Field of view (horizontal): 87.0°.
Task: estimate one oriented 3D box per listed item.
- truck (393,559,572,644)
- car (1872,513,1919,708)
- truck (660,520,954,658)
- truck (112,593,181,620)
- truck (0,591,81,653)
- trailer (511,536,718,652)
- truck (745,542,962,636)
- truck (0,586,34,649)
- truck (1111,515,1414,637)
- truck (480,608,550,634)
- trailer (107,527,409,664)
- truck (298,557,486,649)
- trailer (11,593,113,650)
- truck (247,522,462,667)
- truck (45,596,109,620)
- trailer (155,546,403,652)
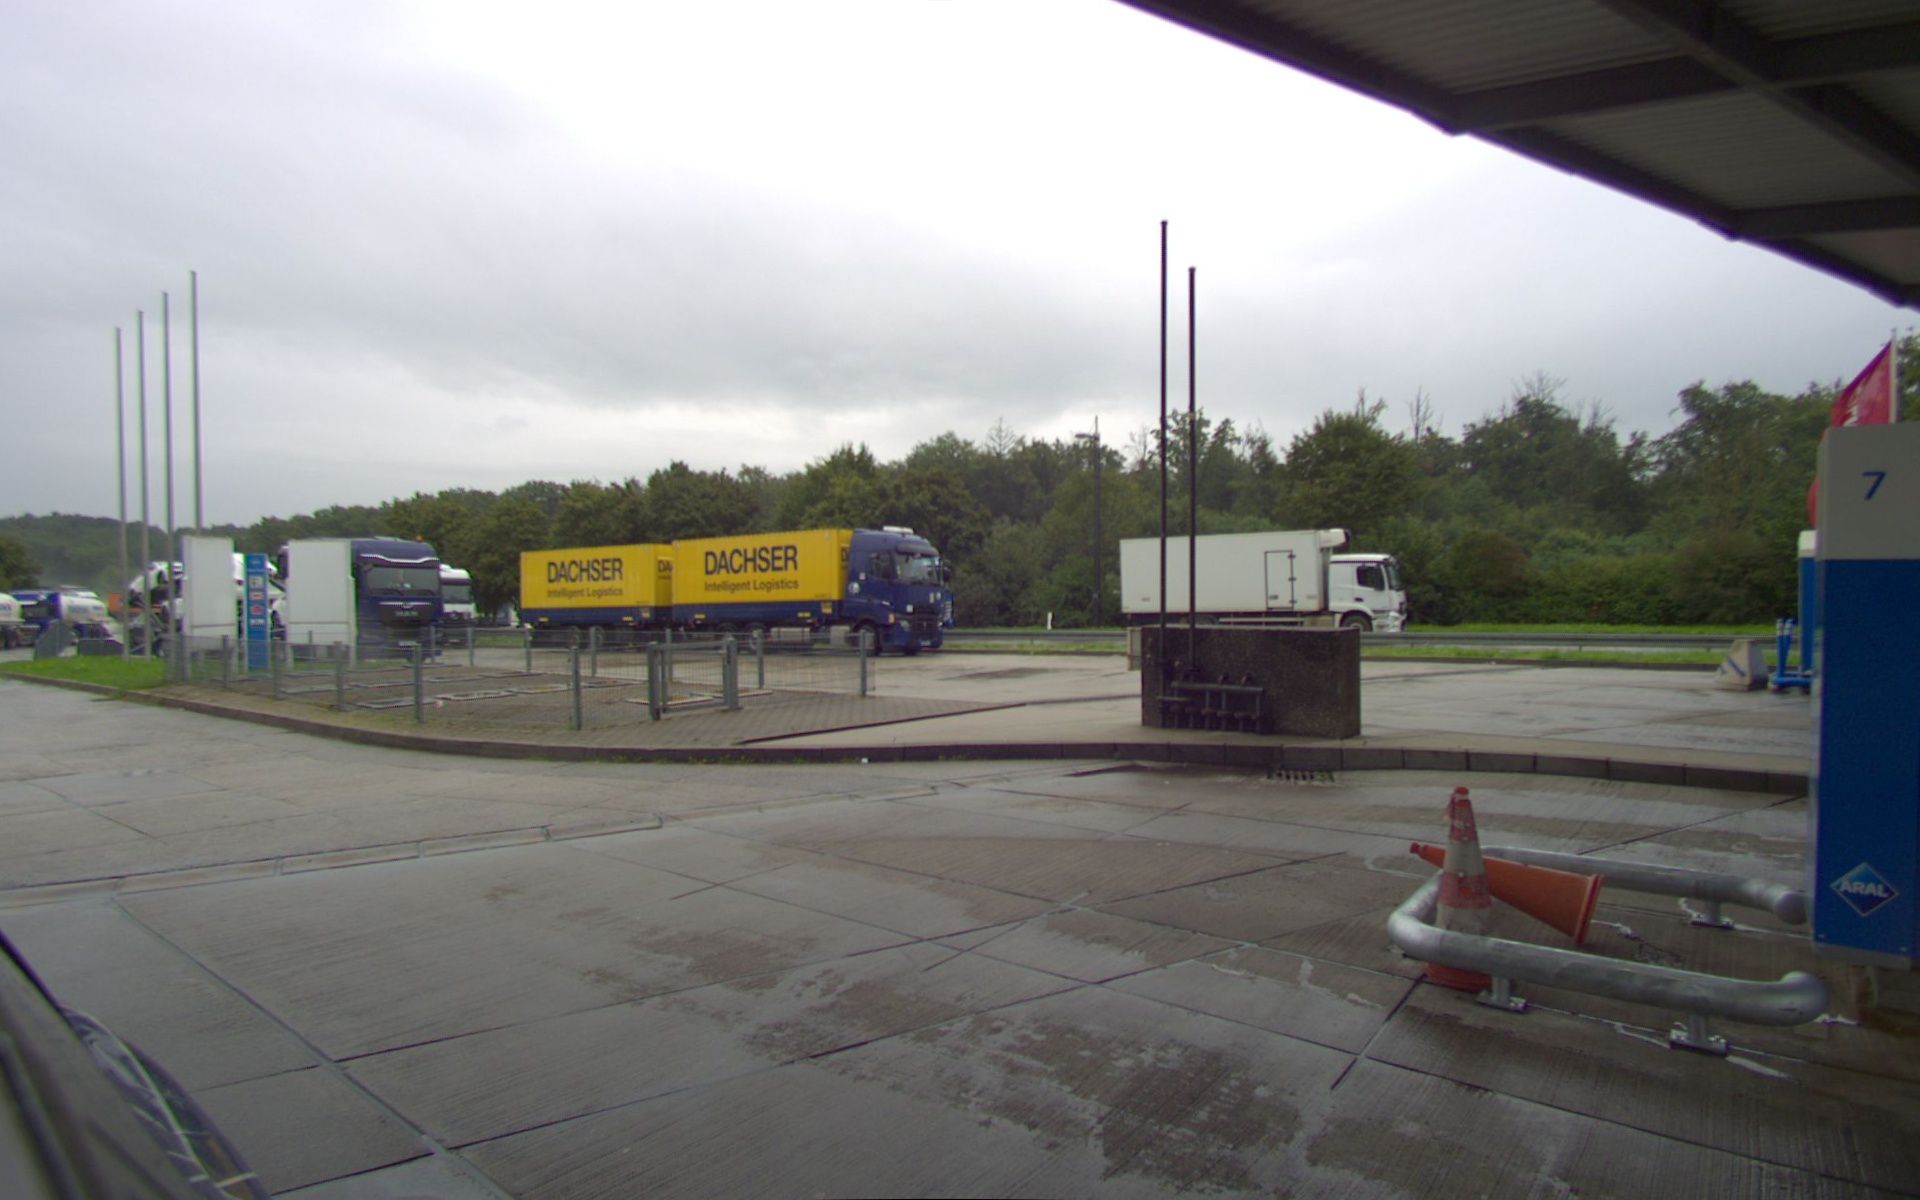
[{"bbox_3d":[-24.785,0.133,52.271,10.433,4.063,2.961,-1,0,30],"label":"truck"},{"bbox_3d":[14.863,0.107,12.369,5.272,2.482,2.298,-1,-2,37],"label":"car"},{"bbox_3d":[-5.395,-0.278,33.952,10.608,4.063,2.743,-1,0,33],"label":"truck"},{"bbox_3d":[-112.579,0.981,139.894,14.626,3.591,3.215,-1,-1,34],"label":"truck"},{"bbox_3d":[-59.429,1.362,64.992,3.000,3.795,6.486,-1,0,-27],"label":"truck"},{"bbox_3d":[-13.551,-0.173,39.286,8.833,4.063,2.743,-1,0,33],"label":"trailer"},{"bbox_3d":[-5.145,-0.413,47.687,10.433,4.063,2.961,-1,0,30],"label":"truck"},{"bbox_3d":[-55.563,1.010,55.012,3.196,3.591,12.013,-1,0,-19],"label":"truck"},{"bbox_3d":[11.068,-0.744,37.696,10.433,4.063,2.961,-1,0,30],"label":"truck"},{"bbox_3d":[-41.531,1.938,94.367,6.158,2.321,3.101,-1,-1,33],"label":"truck"},{"bbox_3d":[-25.422,-0.063,35.921,16.563,4.063,2.957,-1,0,34],"label":"trailer"},{"bbox_3d":[-27.306,0.168,48.443,10.433,4.063,2.961,-1,0,30],"label":"truck"},{"bbox_3d":[-62.275,1.424,70.478,2.854,3.666,10.605,-1,0,-28],"label":"trailer"},{"bbox_3d":[-18.997,-0.120,31.618,7.244,4.063,2.957,-1,0,34],"label":"truck"},{"bbox_3d":[-135.706,1.240,155.413,16.515,3.591,3.215,-1,0,34],"label":"truck"},{"bbox_3d":[-29.551,0.034,43.546,13.747,4.063,2.962,-1,0,29],"label":"trailer"}]
